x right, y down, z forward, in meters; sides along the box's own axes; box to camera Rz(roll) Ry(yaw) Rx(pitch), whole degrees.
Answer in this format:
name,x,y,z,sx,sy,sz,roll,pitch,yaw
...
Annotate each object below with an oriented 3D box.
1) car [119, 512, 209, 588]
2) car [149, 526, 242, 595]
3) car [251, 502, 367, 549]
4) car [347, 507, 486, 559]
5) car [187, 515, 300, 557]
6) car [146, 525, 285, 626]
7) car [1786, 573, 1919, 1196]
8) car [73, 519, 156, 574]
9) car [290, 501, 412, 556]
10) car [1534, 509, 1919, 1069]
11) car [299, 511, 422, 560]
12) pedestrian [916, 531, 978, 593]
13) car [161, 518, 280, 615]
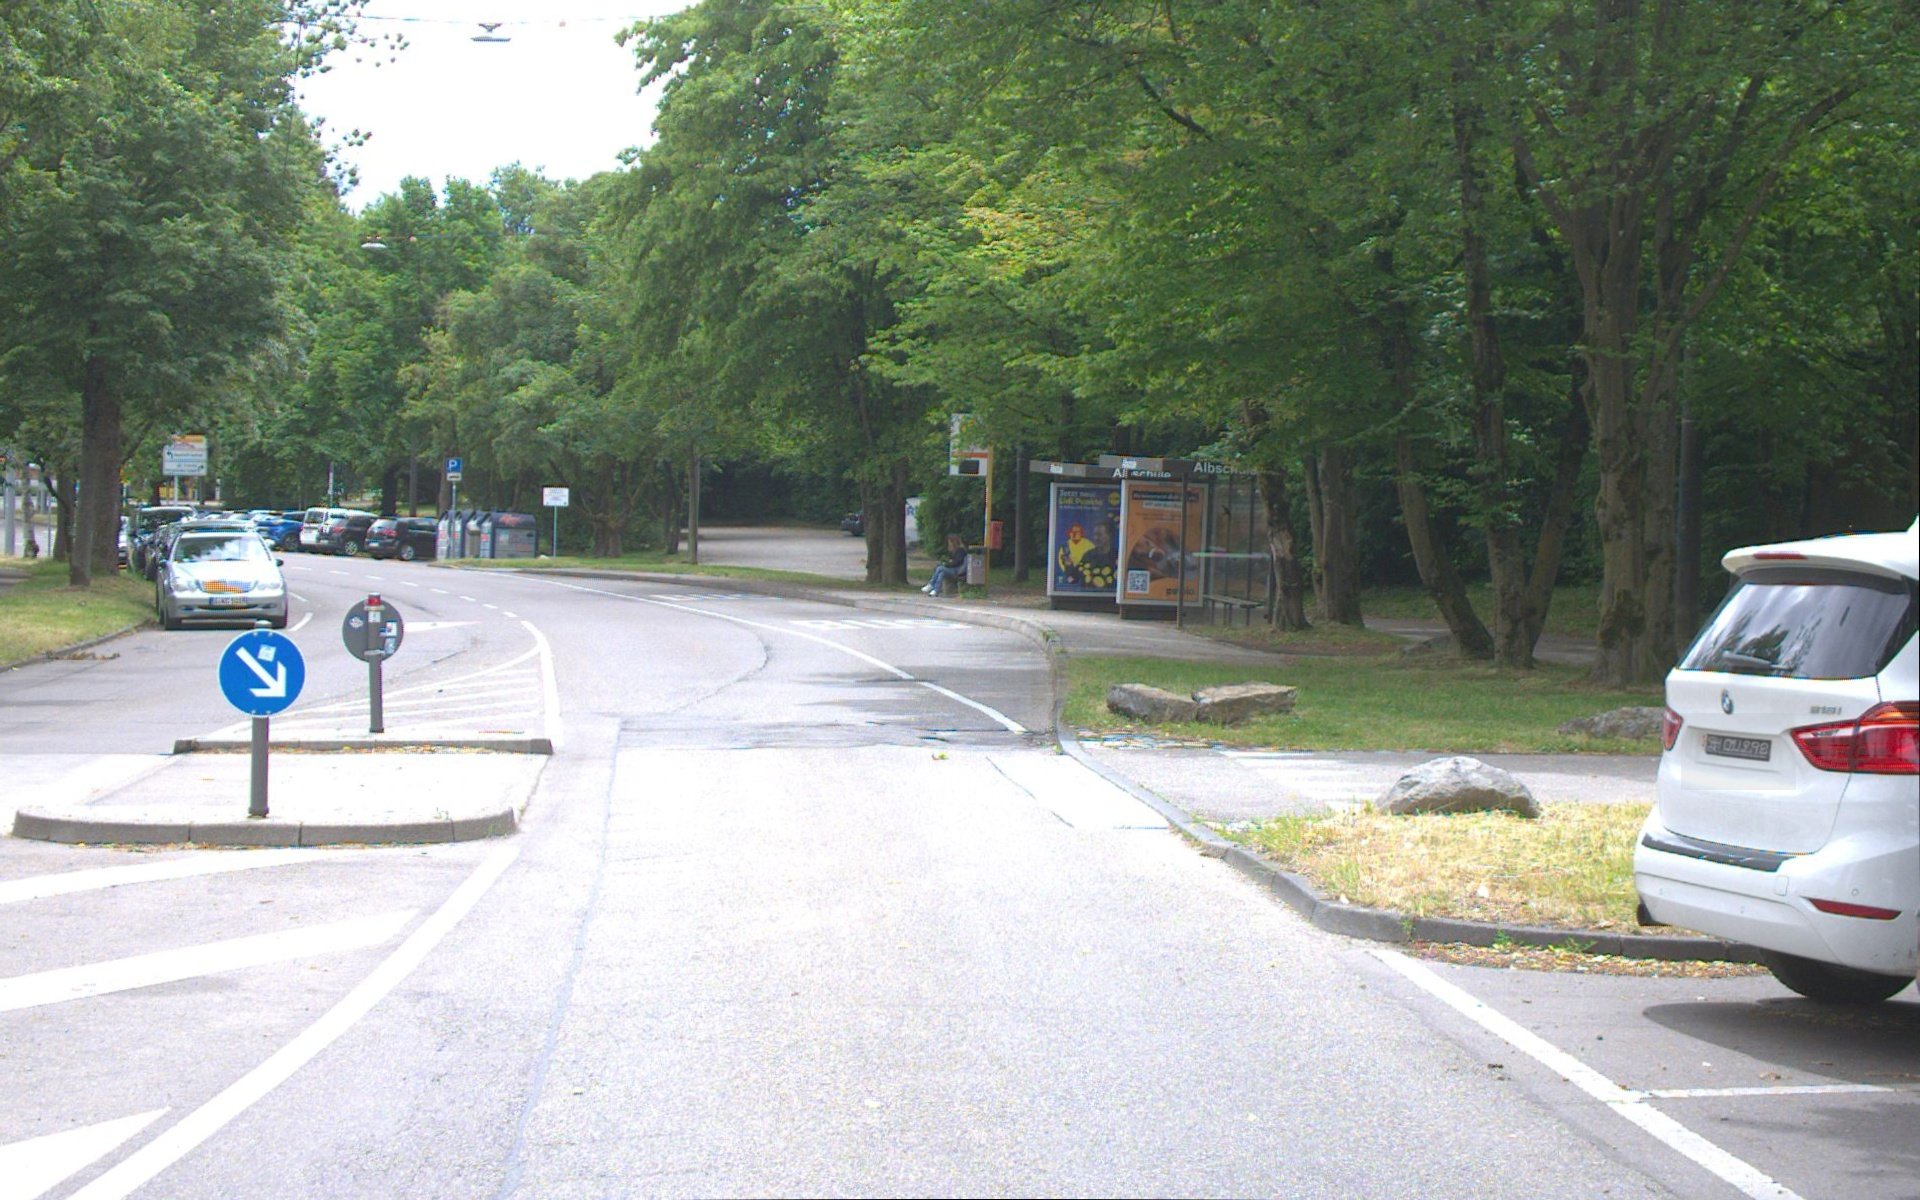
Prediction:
name,x,y,z,sx,sy,sz,roll,pitch,yaw
car,-20.685,-1.308,89.228,1.857,1.902,5.085,0,1,-18
car,-17.713,-0.928,79.545,1.865,1.533,4.228,0,1,-16
car,-24.043,-2.733,126.981,3.820,1.523,1.745,3,-1,-43
car,-17.857,-2.192,113.034,3.988,1.409,2.057,3,1,-43
car,-27.928,-2.494,134.091,3.875,1.421,1.829,3,-1,-43
car,-11.074,-0.395,50.960,1.735,1.411,4.474,-1,1,-16
car,4.347,0.755,8.444,4.131,1.459,1.799,2,1,-19
car,-25.788,-1.644,104.810,1.804,1.557,4.268,-3,2,-22
car,-21.736,-2.548,122.820,3.820,1.714,1.877,3,-1,-43
car,4.350,0.597,11.118,4.467,1.580,1.907,2,1,-13
car,-20.978,-2.261,120.384,3.820,1.463,1.746,3,1,-43
pedestrian,-0.247,-0.729,65.994,1.063,1.178,0.580,0,1,-15
car,-12.211,-0.586,56.962,1.735,1.532,4.191,-1,1,-10
